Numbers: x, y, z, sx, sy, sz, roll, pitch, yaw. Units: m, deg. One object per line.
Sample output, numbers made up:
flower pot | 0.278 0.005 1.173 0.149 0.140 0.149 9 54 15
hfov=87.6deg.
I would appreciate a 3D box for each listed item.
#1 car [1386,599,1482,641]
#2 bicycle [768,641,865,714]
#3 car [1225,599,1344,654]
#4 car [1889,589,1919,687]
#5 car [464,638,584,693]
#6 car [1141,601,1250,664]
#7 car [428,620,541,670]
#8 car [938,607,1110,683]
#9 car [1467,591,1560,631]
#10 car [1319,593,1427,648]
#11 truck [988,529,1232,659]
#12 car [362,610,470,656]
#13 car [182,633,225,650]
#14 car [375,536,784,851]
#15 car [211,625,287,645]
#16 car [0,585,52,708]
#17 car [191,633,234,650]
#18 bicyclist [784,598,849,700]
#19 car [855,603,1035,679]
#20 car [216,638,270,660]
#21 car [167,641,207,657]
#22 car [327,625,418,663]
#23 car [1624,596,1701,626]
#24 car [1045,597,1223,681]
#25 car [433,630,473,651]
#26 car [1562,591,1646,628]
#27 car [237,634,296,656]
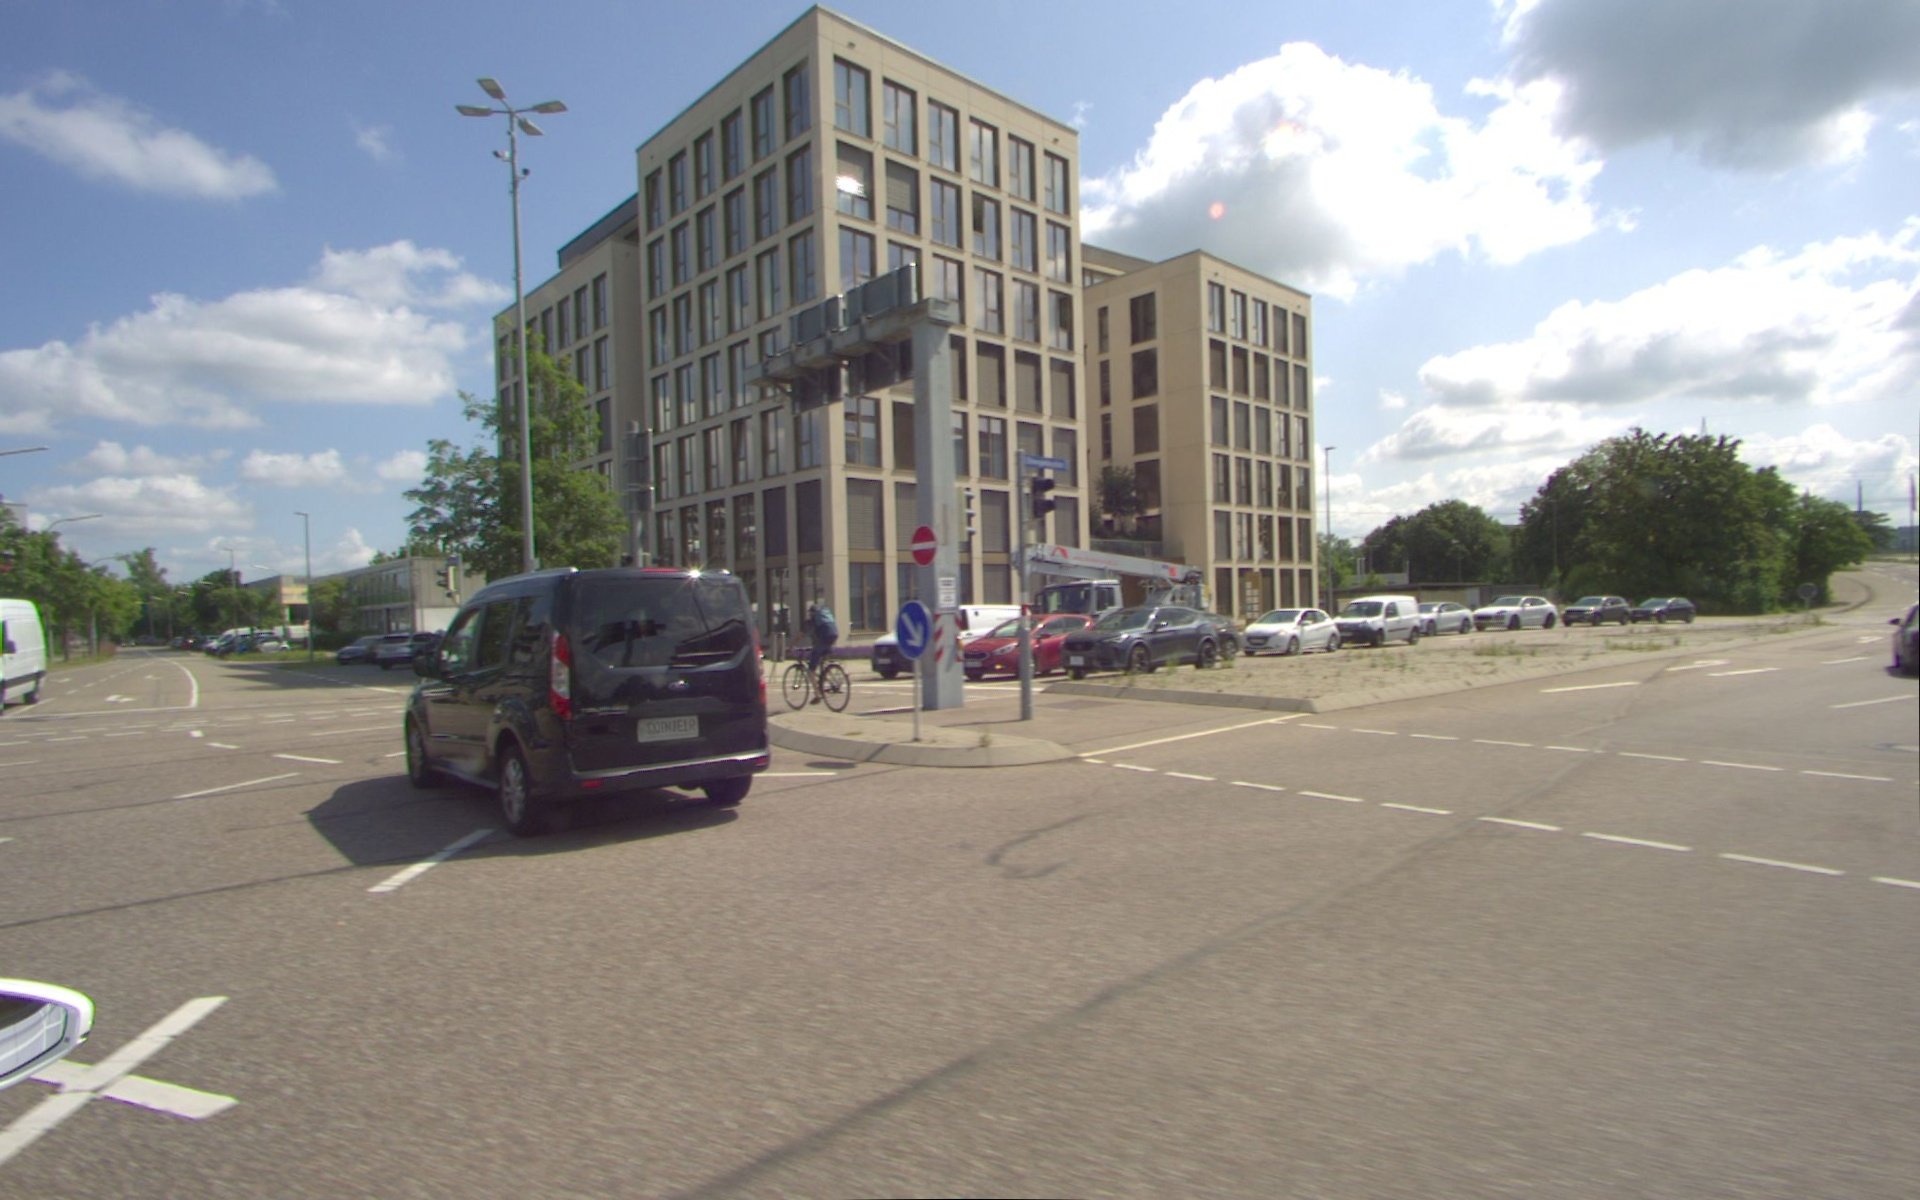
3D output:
car | 21.979 0.953 46.347 4.662 1.861 1.818 1 -2 -33
bicycle | -2.221 1.149 15.248 0.641 1.024 1.965 0 -2 -35
car | 10.429 0.866 32.028 4.169 1.647 1.812 1 -3 -42
car | 19.255 0.807 19.213 1.843 1.675 4.191 0 -5 40
car | -17.455 2.584 40.194 1.979 2.039 3.966 -2 -3 43
car | 6.774 0.950 28.545 1.802 1.647 4.192 -2 -2 31
car | -20.256 1.912 42.754 1.979 2.039 3.966 -2 -3 43
car | 1.588 1.048 23.733 1.809 1.647 4.175 -2 -3 43
car | 27.446 0.569 49.625 4.645 1.861 1.820 0 -2 -28
car | 14.926 0.778 36.125 4.398 1.861 1.813 1 -3 -41
truck | 5.142 -0.027 32.200 2.648 3.600 9.697 -2 -3 44
car | -25.022 1.523 46.114 1.979 2.039 3.966 -2 -3 43
car | -93.733 5.142 124.084 1.979 2.039 3.966 -2 -3 43
car | -3.296 0.636 8.225 1.810 1.929 3.964 0 -2 -42
car | -73.703 3.633 103.841 6.294 2.039 2.551 1 -3 -41
car | -23.263 1.116 23.528 2.113 2.640 6.817 1 -2 -36
car | -90.775 5.008 121.629 1.979 2.039 3.966 -2 -3 43
bicyclist | -2.190 0.742 15.195 0.630 1.496 0.910 0 -2 -35
car | -0.310 1.099 27.022 1.979 1.861 4.949 -2 -3 43
car | -69.440 4.702 97.012 1.979 2.039 3.966 -2 -3 43
car | -104.565 6.603 135.475 1.979 2.039 3.966 -2 -3 43
car | -32.460 2.426 55.377 1.979 2.039 3.966 -2 -3 43
car | 39.759 0.652 56.650 4.380 1.634 1.820 0 -2 -28
car | 3.880 0.847 21.871 1.809 1.647 4.175 -2 -3 43
car | -42.228 3.356 83.374 1.981 1.705 3.963 1 -3 -44
car | 34.215 0.519 53.192 4.380 1.861 1.820 0 -2 -28
car | -58.570 3.812 84.556 3.955 1.772 1.984 1 -3 -39
